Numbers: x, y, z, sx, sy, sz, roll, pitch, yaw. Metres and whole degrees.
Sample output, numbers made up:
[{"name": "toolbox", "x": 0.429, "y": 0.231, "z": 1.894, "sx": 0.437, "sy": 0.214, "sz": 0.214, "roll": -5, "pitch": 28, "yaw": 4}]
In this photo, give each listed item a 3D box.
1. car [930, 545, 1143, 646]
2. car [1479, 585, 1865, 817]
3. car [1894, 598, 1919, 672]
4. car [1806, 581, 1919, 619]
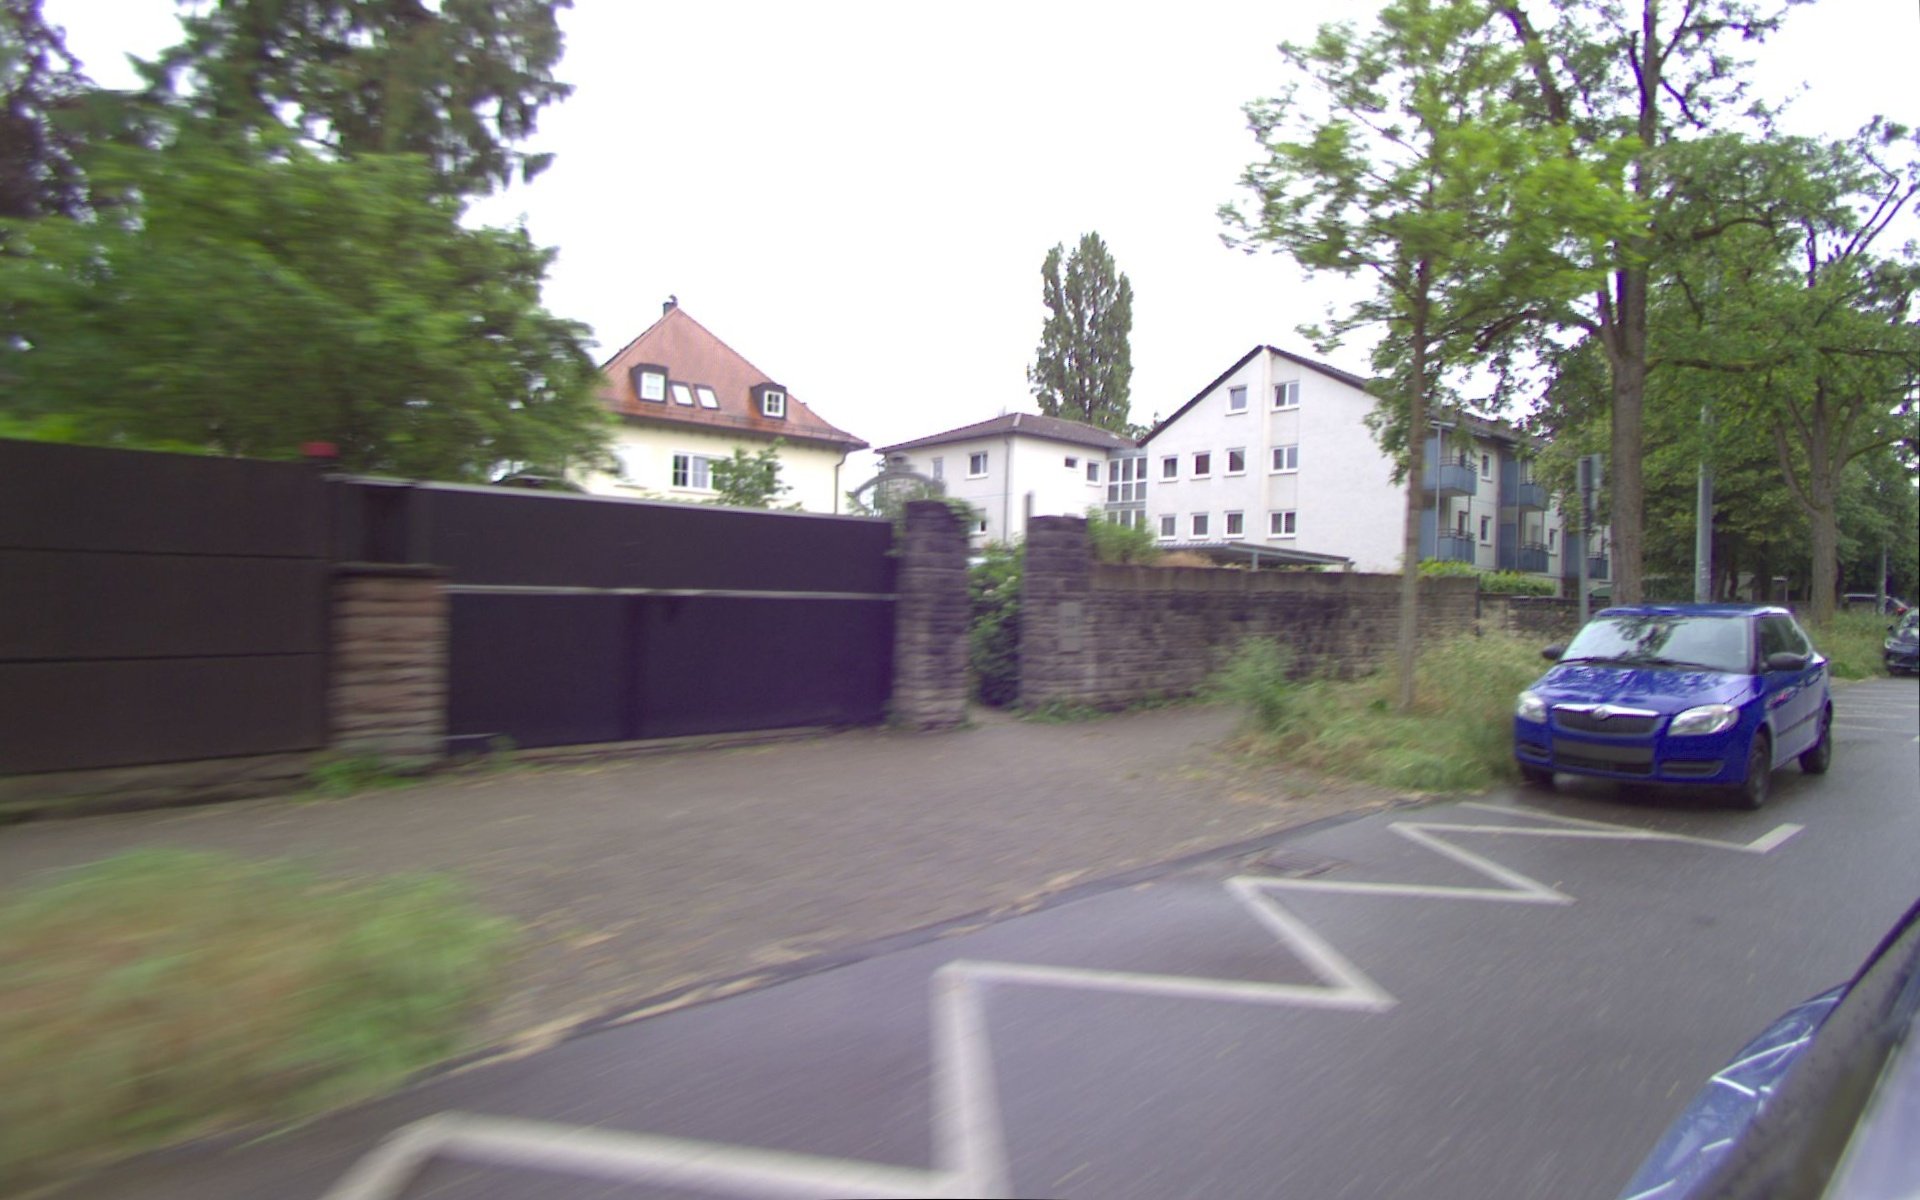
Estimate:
[{"name": "car", "x": 1.606, "y": -0.095, "z": 20.361, "sx": 4.179, "sy": 1.833, "sz": 1.834, "roll": 0, "pitch": 1, "yaw": -40}, {"name": "car", "x": 6.188, "y": 0.699, "z": 8.639, "sx": 3.977, "sy": 1.525, "sz": 1.724, "roll": 1, "pitch": -1, "yaw": -40}, {"name": "car", "x": 21.269, "y": 0.736, "z": 21.530, "sx": 3.896, "sy": 1.498, "sz": 1.743, "roll": 1, "pitch": -1, "yaw": -43}, {"name": "car", "x": 46.657, "y": -0.044, "z": 52.203, "sx": 1.964, "sy": 1.702, "sz": 4.321, "roll": 0, "pitch": 4, "yaw": -39}]
